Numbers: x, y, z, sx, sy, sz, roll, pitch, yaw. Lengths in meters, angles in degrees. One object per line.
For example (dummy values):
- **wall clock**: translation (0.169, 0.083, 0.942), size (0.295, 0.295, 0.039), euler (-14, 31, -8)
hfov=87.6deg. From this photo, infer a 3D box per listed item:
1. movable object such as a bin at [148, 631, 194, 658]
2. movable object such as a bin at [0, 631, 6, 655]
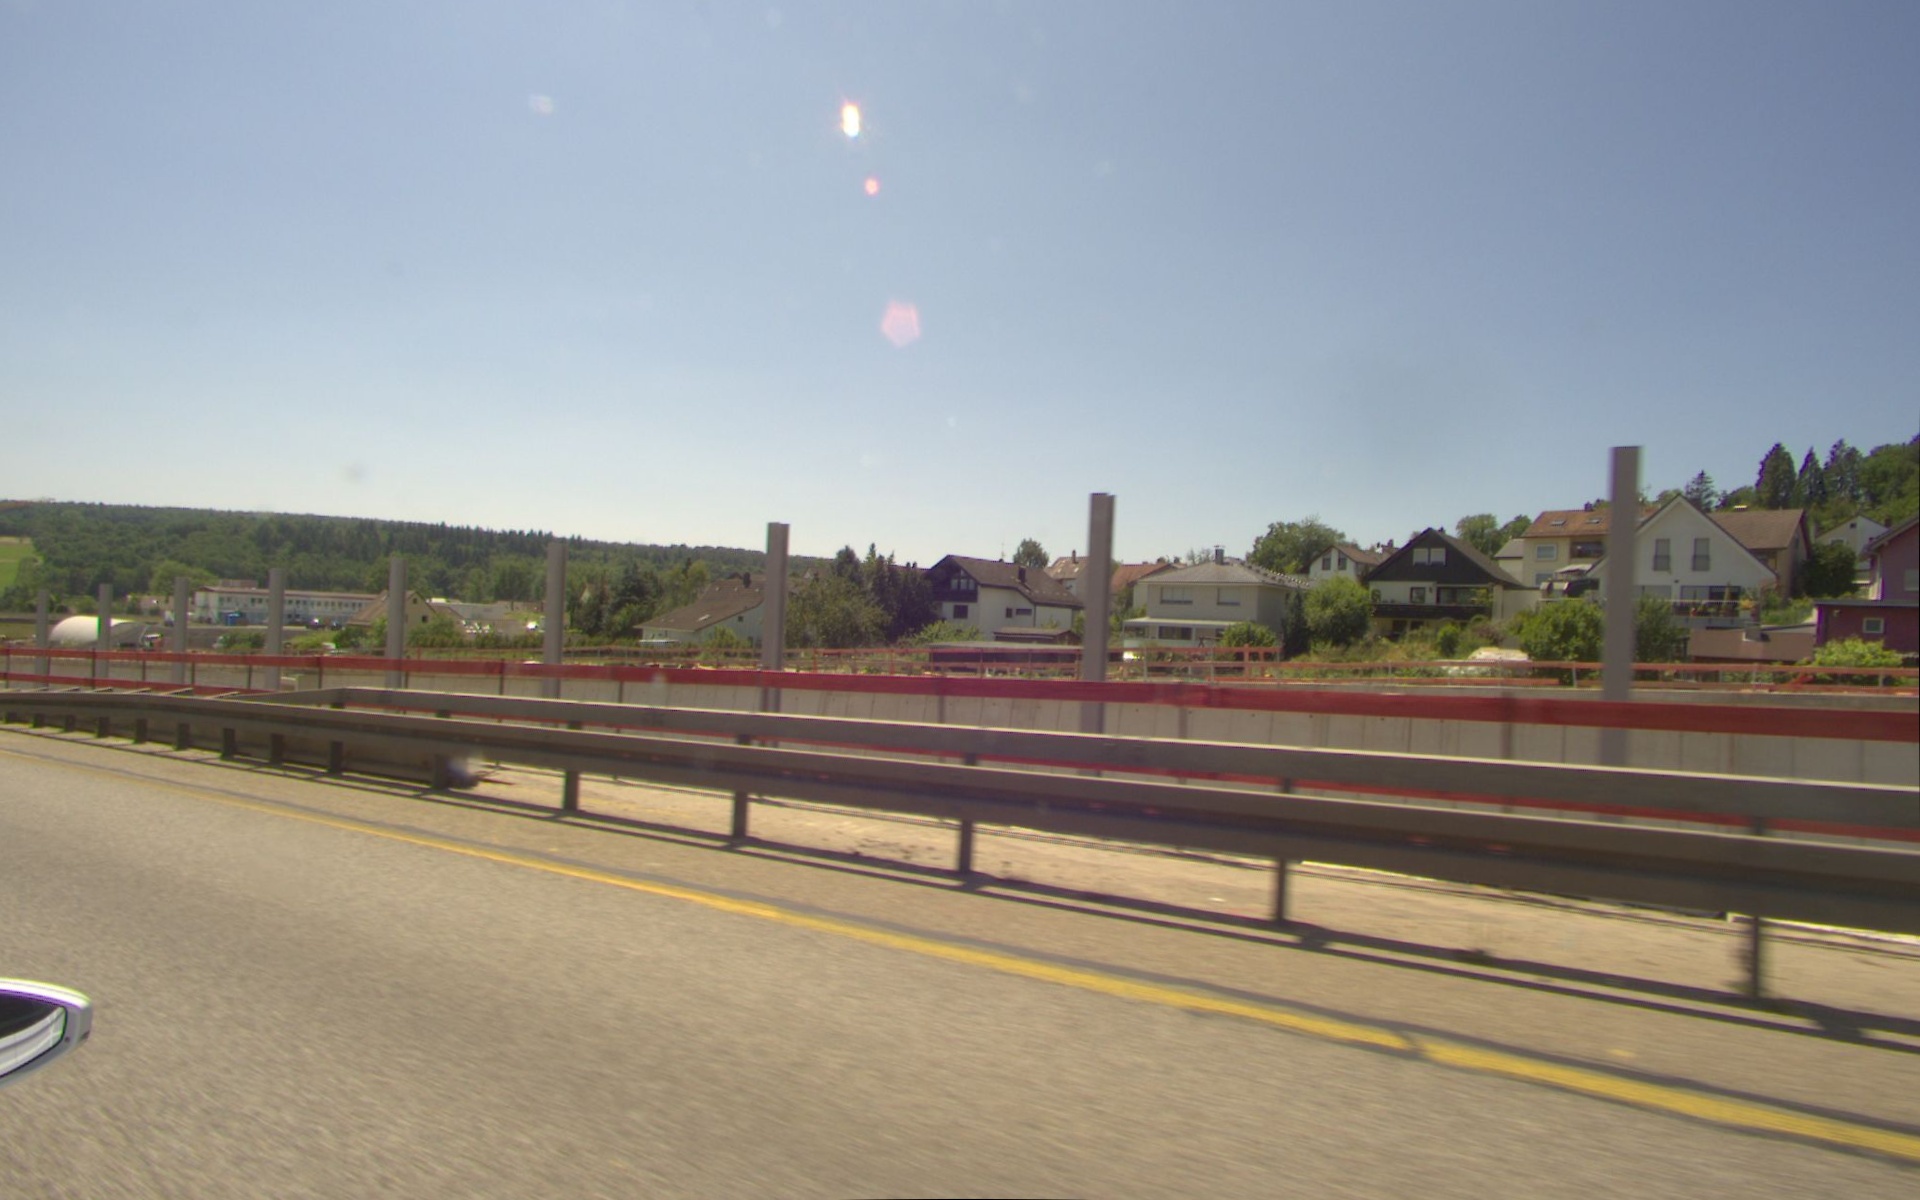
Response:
- **movable object such as a bin**: translation (-69.272, 3.889, 87.896), size (4.094, 2.267, 1.990), euler (-1, -2, 33)
- **movable object such as a bin**: translation (-118.520, 5.178, 120.856), size (9.347, 2.946, 2.882), euler (-1, -2, 34)
